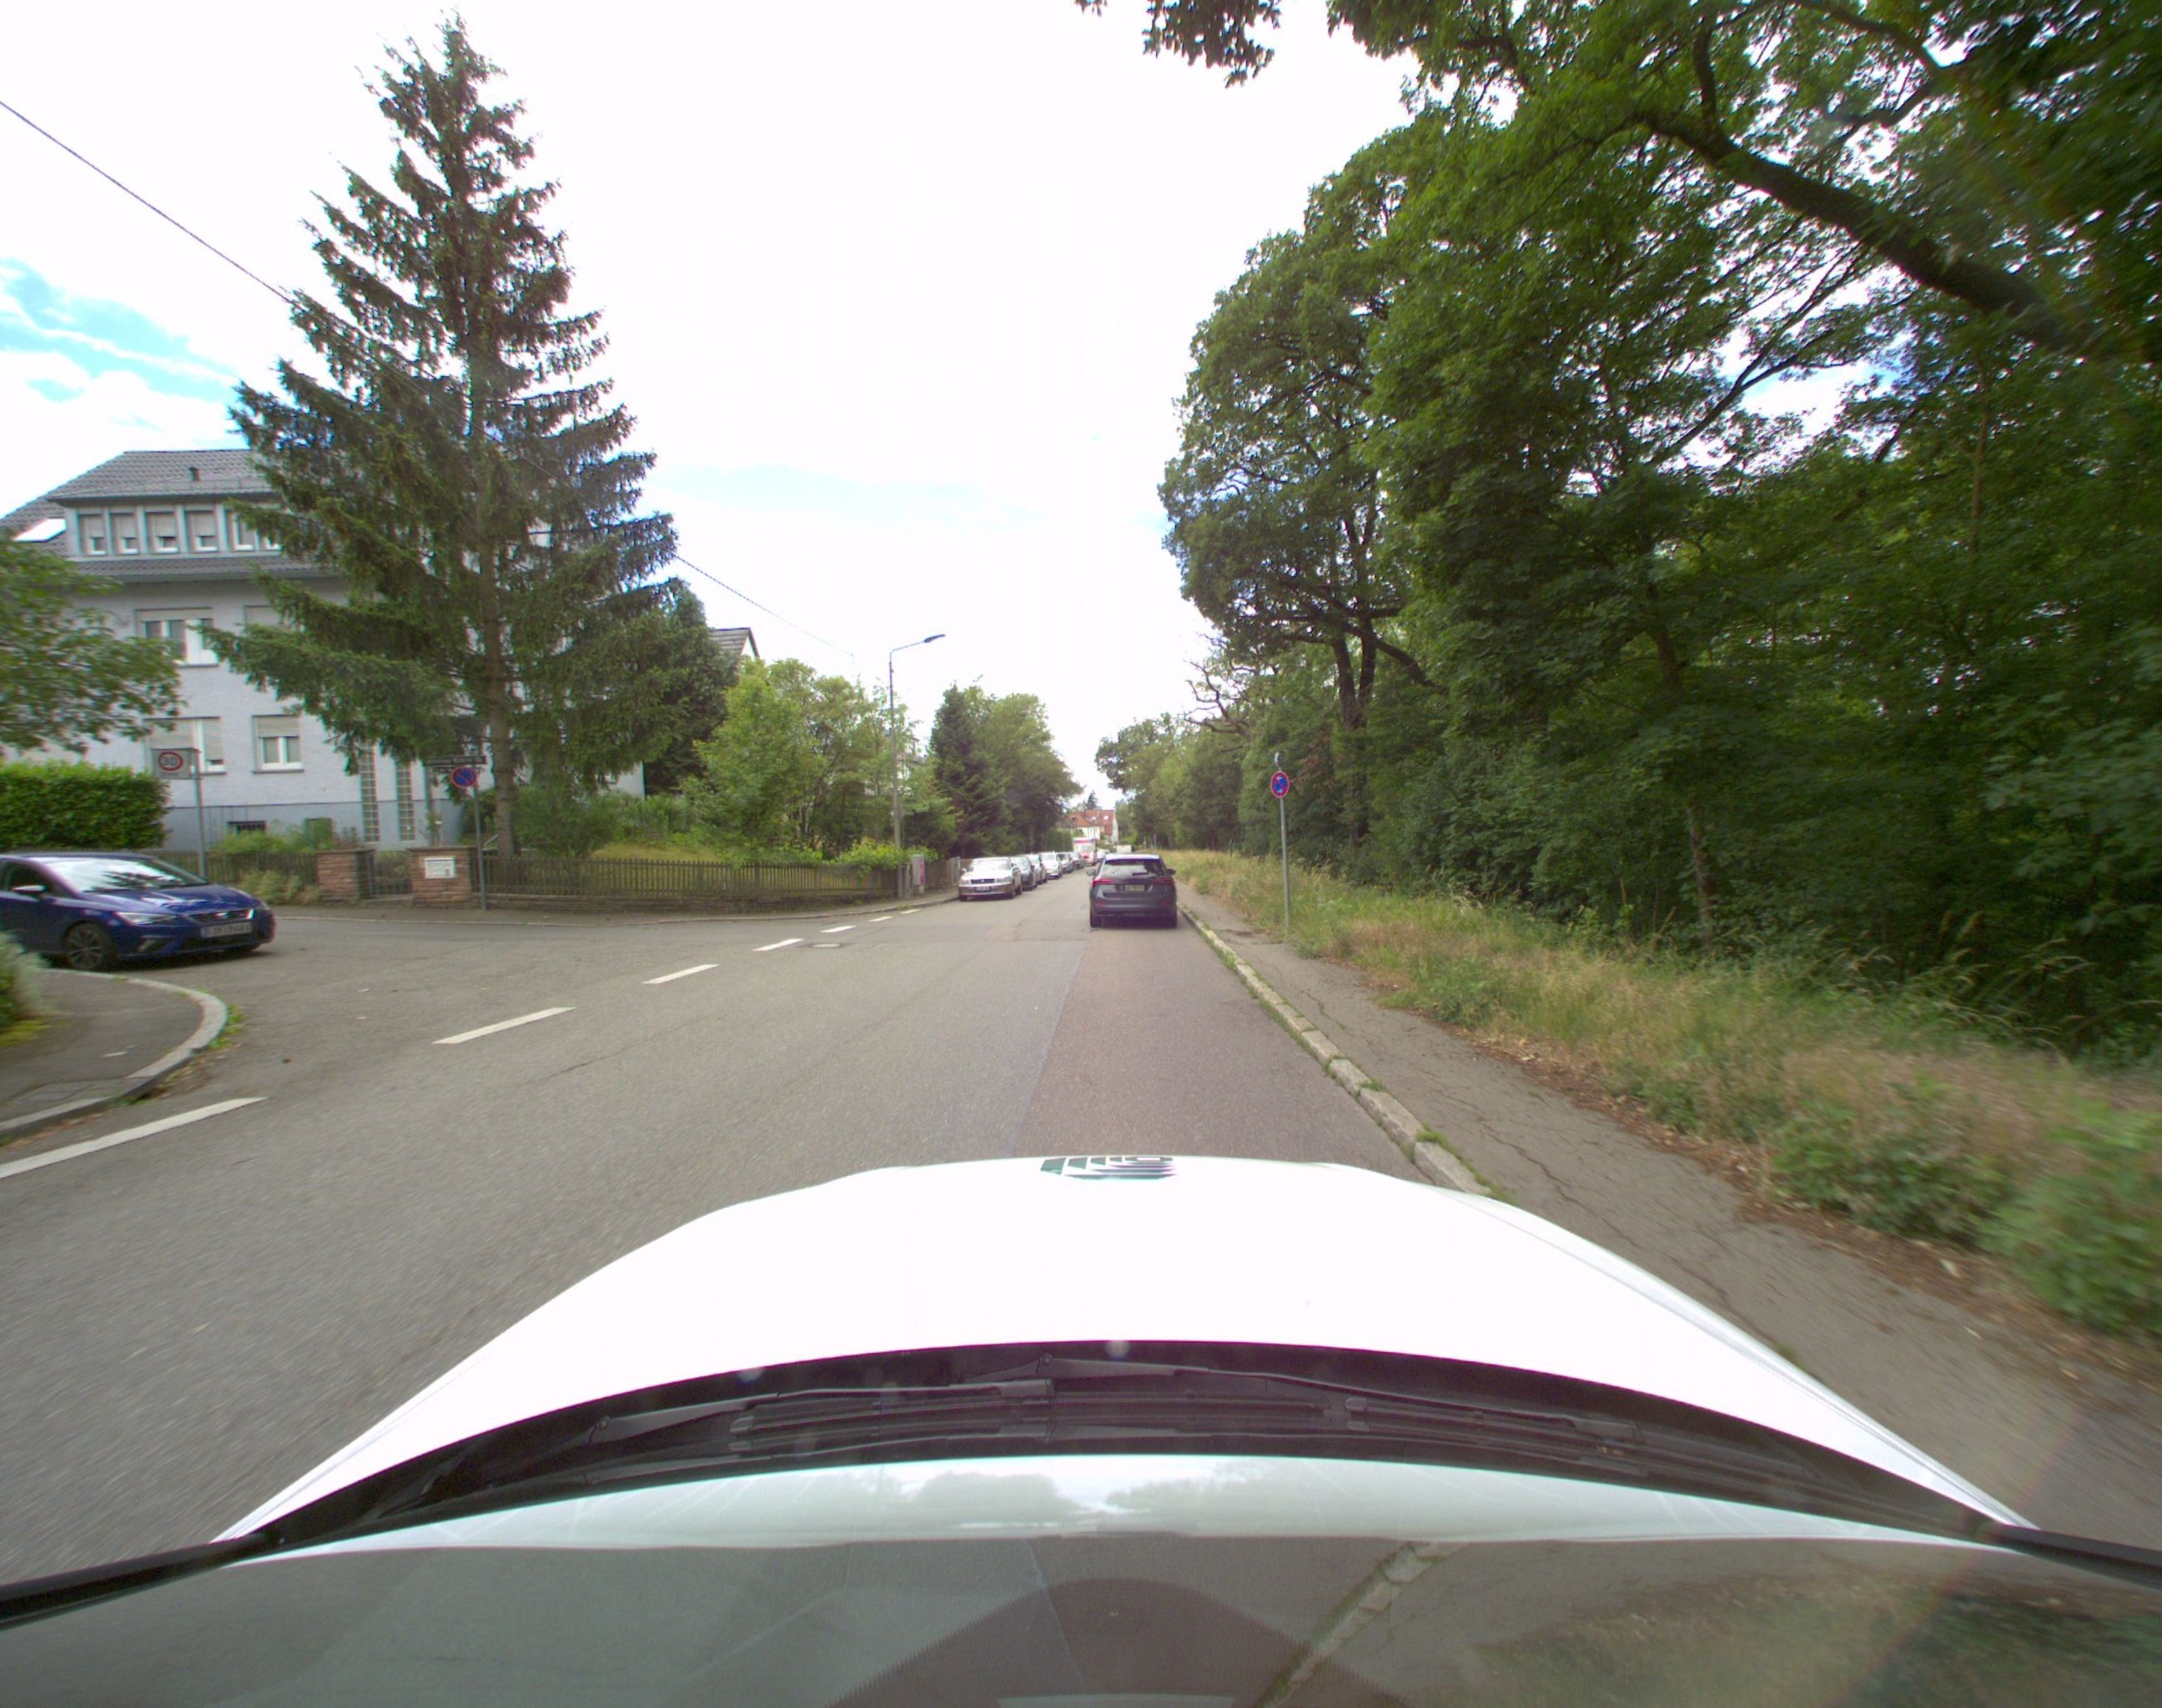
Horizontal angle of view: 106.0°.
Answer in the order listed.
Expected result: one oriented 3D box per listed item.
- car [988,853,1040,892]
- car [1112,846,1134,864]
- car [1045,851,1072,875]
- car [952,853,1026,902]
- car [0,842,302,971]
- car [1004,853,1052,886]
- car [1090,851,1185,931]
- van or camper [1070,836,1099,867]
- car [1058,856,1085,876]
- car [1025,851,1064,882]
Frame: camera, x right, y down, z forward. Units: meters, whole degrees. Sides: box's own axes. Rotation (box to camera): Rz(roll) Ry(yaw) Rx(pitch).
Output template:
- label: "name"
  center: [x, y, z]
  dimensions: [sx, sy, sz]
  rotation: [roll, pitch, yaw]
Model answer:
- label: "car"
  center: [-2.749, 0.734, 34.176]
  dimensions: [1.728, 1.439, 4.262]
  rotation: [-3, 0, 0]
- label: "car"
  center: [4.535, 0.086, 88.324]
  dimensions: [2.065, 1.922, 4.921]
  rotation: [-1, 0, 0]
- label: "car"
  center: [-1.554, 0.614, 57.514]
  dimensions: [1.715, 1.505, 4.007]
  rotation: [-4, 0, 0]
- label: "car"
  center: [-3.078, 0.743, 28.274]
  dimensions: [1.841, 1.439, 4.911]
  rotation: [-3, 0, 1]
- label: "car"
  center: [-13.233, 0.626, 10.968]
  dimensions: [3.968, 1.483, 1.724]
  rotation: [1, 1, 5]
- label: "car"
  center: [-2.568, 0.720, 40.276]
  dimensions: [1.827, 1.439, 4.120]
  rotation: [-3, 0, 3]
- label: "car"
  center: [1.079, 0.671, 17.351]
  dimensions: [1.722, 1.439, 4.323]
  rotation: [-1, 1, 0]
- label: "van or camper"
  center: [0.288, -0.262, 81.582]
  dimensions: [2.450, 2.894, 7.160]
  rotation: [-2, 0, -3]
- label: "car"
  center: [-0.805, 1.026, 70.258]
  dimensions: [1.790, 1.505, 4.869]
  rotation: [-4, 0, 5]
- label: "car"
  center: [-2.053, 0.660, 47.035]
  dimensions: [1.910, 1.562, 4.604]
  rotation: [-4, 0, 0]
